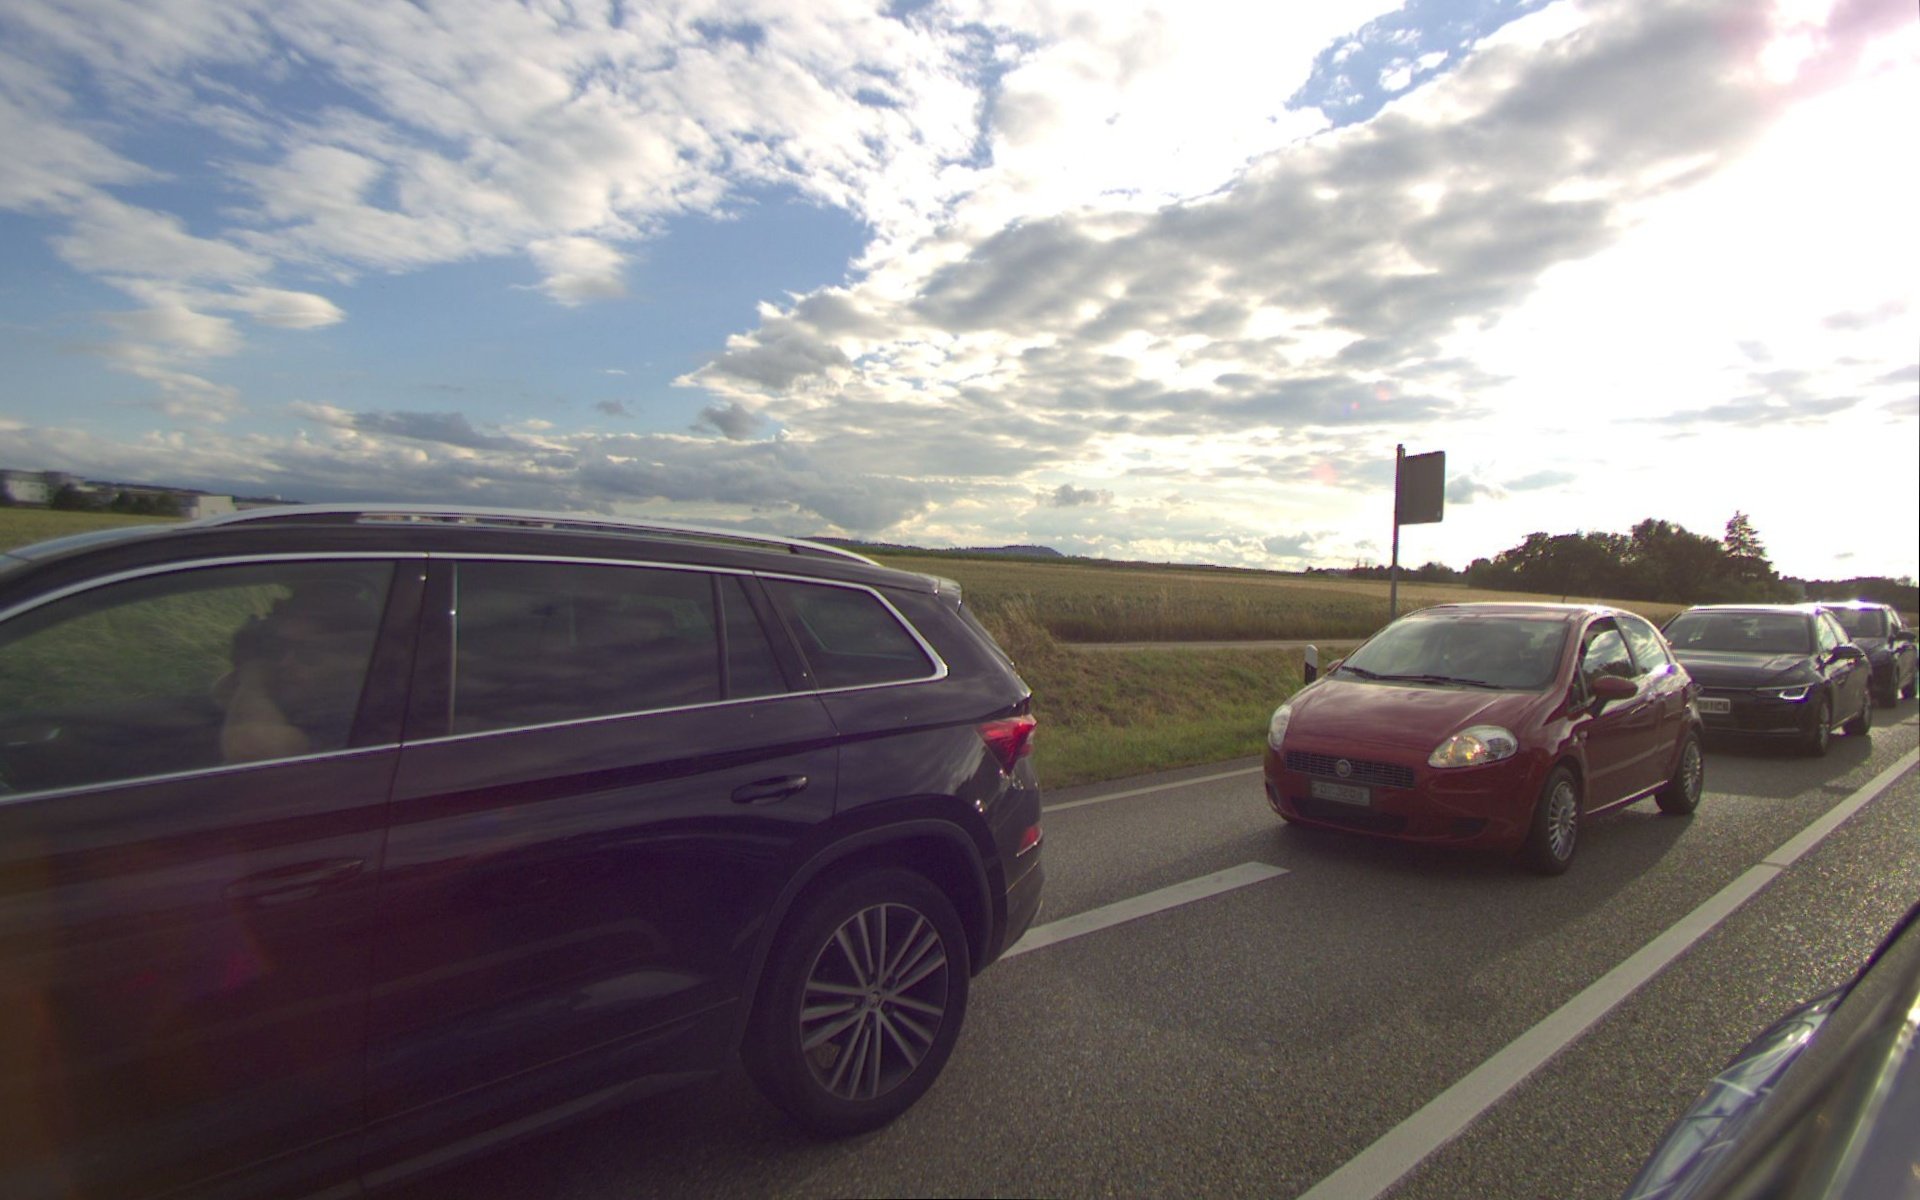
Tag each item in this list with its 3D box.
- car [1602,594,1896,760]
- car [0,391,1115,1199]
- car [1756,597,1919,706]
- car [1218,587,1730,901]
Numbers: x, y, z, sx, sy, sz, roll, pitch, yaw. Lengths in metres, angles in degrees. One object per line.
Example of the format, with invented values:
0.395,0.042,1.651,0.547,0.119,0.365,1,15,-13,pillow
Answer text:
8.715,0.681,11.063,3.962,1.475,1.797,0,0,-41,car
-1.779,0.530,2.566,4.477,1.730,1.839,-1,0,-41,car
14.085,0.704,15.870,3.962,1.475,1.797,0,0,-41,car
3.562,0.666,6.714,3.840,1.475,1.710,-1,0,-41,car
